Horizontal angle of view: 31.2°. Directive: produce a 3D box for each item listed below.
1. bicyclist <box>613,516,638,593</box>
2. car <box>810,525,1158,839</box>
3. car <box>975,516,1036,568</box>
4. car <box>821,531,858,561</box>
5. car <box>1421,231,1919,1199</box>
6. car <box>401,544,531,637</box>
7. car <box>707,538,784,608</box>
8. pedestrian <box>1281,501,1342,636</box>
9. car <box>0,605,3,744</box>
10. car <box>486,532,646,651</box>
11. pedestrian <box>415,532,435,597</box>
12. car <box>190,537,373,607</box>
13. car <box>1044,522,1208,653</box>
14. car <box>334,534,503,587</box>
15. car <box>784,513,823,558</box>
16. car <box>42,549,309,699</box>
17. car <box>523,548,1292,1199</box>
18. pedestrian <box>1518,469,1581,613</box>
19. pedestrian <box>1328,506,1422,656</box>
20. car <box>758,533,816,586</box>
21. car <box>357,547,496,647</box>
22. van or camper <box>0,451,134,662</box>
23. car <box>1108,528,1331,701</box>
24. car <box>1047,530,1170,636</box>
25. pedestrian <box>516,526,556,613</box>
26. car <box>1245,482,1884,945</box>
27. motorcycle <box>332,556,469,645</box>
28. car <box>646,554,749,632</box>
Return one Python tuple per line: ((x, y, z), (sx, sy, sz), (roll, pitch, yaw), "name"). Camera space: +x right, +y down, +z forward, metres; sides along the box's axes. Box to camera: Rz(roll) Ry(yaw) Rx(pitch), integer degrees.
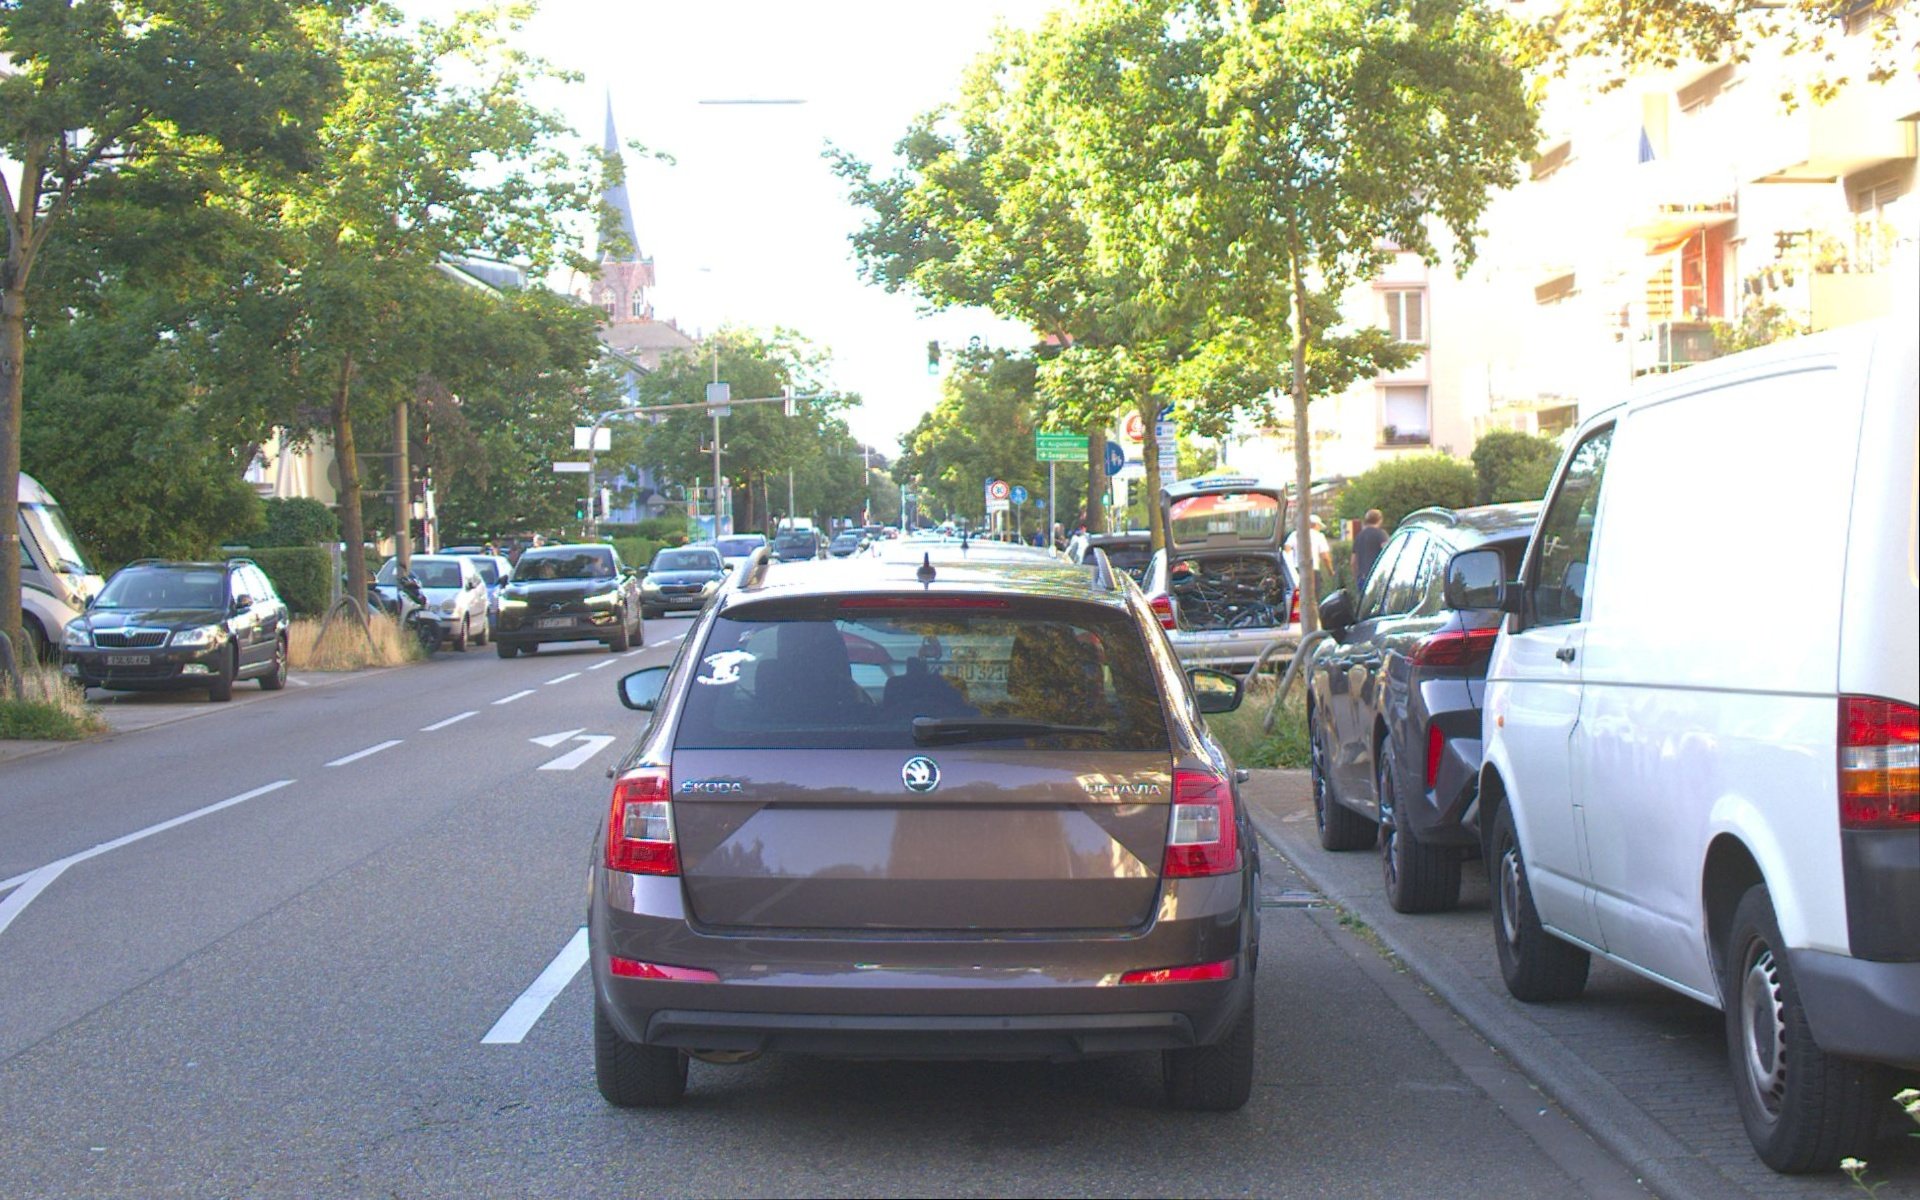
((-7.317, -0.996, 75.235), (0.468, 1.657, 0.552), (-1, 1, -1), "bicyclist")
((0.135, 0.376, 19.373), (1.737, 1.565, 4.000), (1, 1, 0), "car")
((1.610, -2.030, 120.708), (1.994, 1.766, 4.000), (1, 1, 2), "car")
((-6.466, -2.909, 185.098), (1.830, 1.574, 4.000), (-1, 1, 0), "car")
((2.624, 0.231, 9.436), (1.903, 2.096, 4.641), (-1, 1, -2), "car")
((-8.393, -0.186, 58.716), (1.648, 1.512, 4.074), (0, 1, 0), "car")
((-5.858, -0.759, 94.431), (1.805, 1.798, 4.746), (-3, 1, -1), "car")
((4.674, -0.423, 45.770), (0.662, 1.743, 0.772), (-3, 1, 1), "pedestrian")
((-8.338, 0.489, 25.368), (1.543, 1.391, 3.666), (-1, 1, -1), "car")
((-5.658, -0.140, 49.803), (1.835, 1.565, 4.000), (-3, 1, -1), "car")
((-14.842, -0.994, 95.387), (0.449, 1.790, 0.504), (-1, 1, 0), "pedestrian")
((-18.604, -0.767, 94.428), (4.634, 1.805, 1.862), (-1, 1, -1), "car")
((2.166, -0.197, 45.755), (1.855, 1.576, 4.014), (-3, 1, -1), "car")
((-15.815, -1.157, 100.543), (4.634, 1.530, 1.862), (0, 1, -1), "car")
((-8.781, -3.631, 193.212), (1.993, 2.469, 4.000), (-1, 1, 0), "car")
((-8.390, 0.211, 37.155), (1.867, 1.489, 4.517), (1, 1, 0), "car")
((-0.156, 0.601, 10.099), (1.773, 1.484, 4.311), (0, 1, -1), "car")
((6.780, -0.675, 39.549), (0.474, 1.634, 0.536), (-2, 1, -19), "pedestrian")
((4.591, -0.208, 38.030), (0.757, 1.634, 0.694), (-1, 1, 36), "pedestrian")
((-6.662, -1.567, 132.820), (1.993, 1.902, 4.964), (-3, 1, -1), "car")
((-8.359, -0.074, 54.087), (1.593, 1.465, 3.804), (1, 1, 0), "car")
((-14.858, -0.656, 46.463), (6.797, 2.763, 2.352), (1, 1, -1), "van or camper")
((2.442, 0.088, 33.271), (1.708, 1.475, 4.269), (-3, 1, -1), "car")
((2.189, -0.281, 51.318), (1.703, 1.445, 4.013), (-3, 1, 2), "car")
((-9.829, -0.714, 79.673), (0.780, 1.981, 0.821), (-1, 1, 0), "pedestrian")
((2.418, 0.378, 14.874), (1.856, 1.598, 4.312), (-4, 1, -1), "car")
((-8.203, 0.012, 50.379), (2.052, 1.260, 0.765), (-1, 1, 38), "motorcycle")
((-5.465, -0.179, 71.966), (1.760, 1.447, 4.534), (-3, 1, 0), "car")
